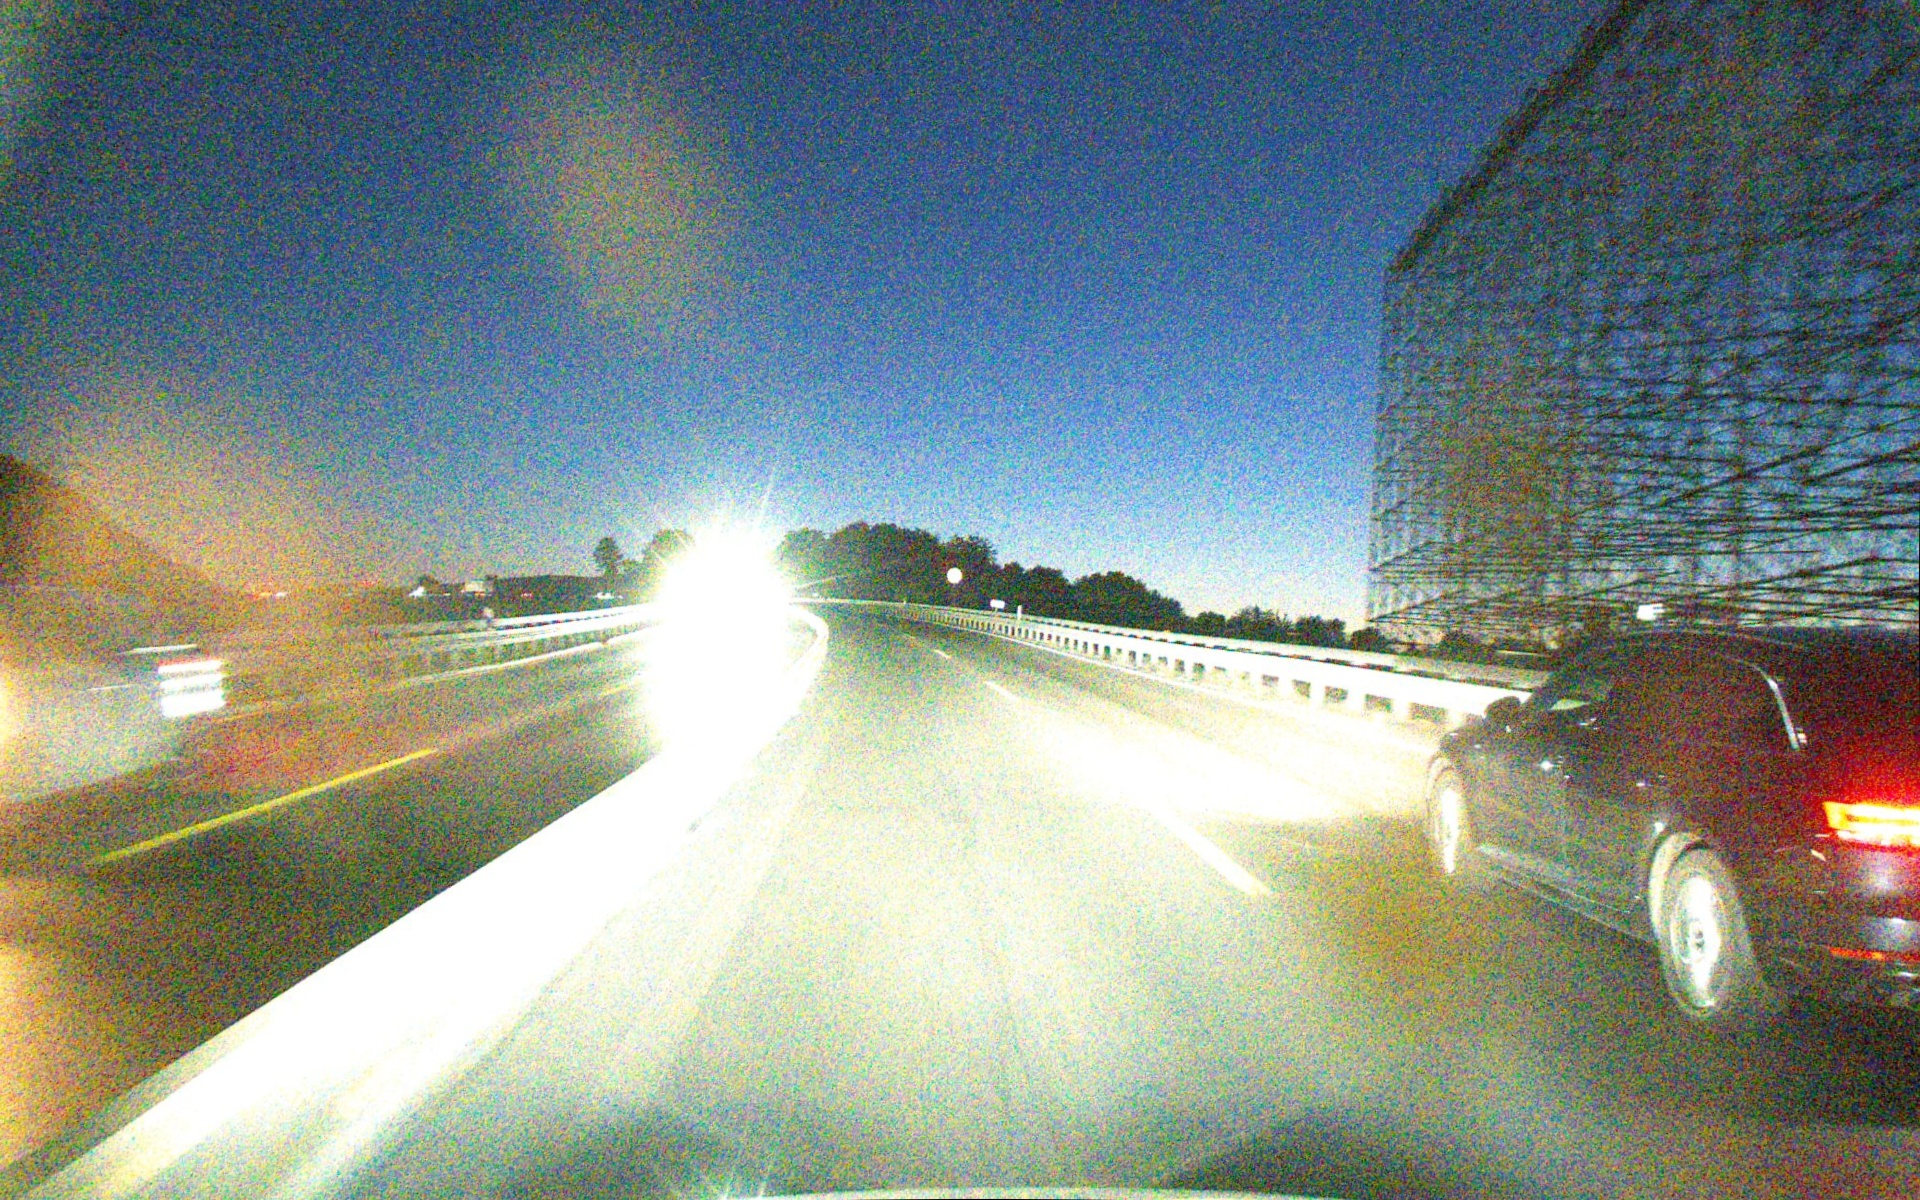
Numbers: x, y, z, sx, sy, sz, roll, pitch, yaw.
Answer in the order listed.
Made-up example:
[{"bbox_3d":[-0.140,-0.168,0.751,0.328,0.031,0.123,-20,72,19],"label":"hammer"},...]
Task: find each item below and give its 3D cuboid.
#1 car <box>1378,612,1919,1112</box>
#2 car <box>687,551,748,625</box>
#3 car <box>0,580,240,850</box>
[{"bbox_3d":[3.478,0.793,7.382,1.772,1.451,4.871,0,0,-3],"label":"car"},{"bbox_3d":[-10.821,-0.446,74.209,2.438,3.160,7.374,0,-1,-7],"label":"car"},{"bbox_3d":[-6.188,0.638,10.455,1.651,1.484,4.197,0,0,-3],"label":"car"}]
